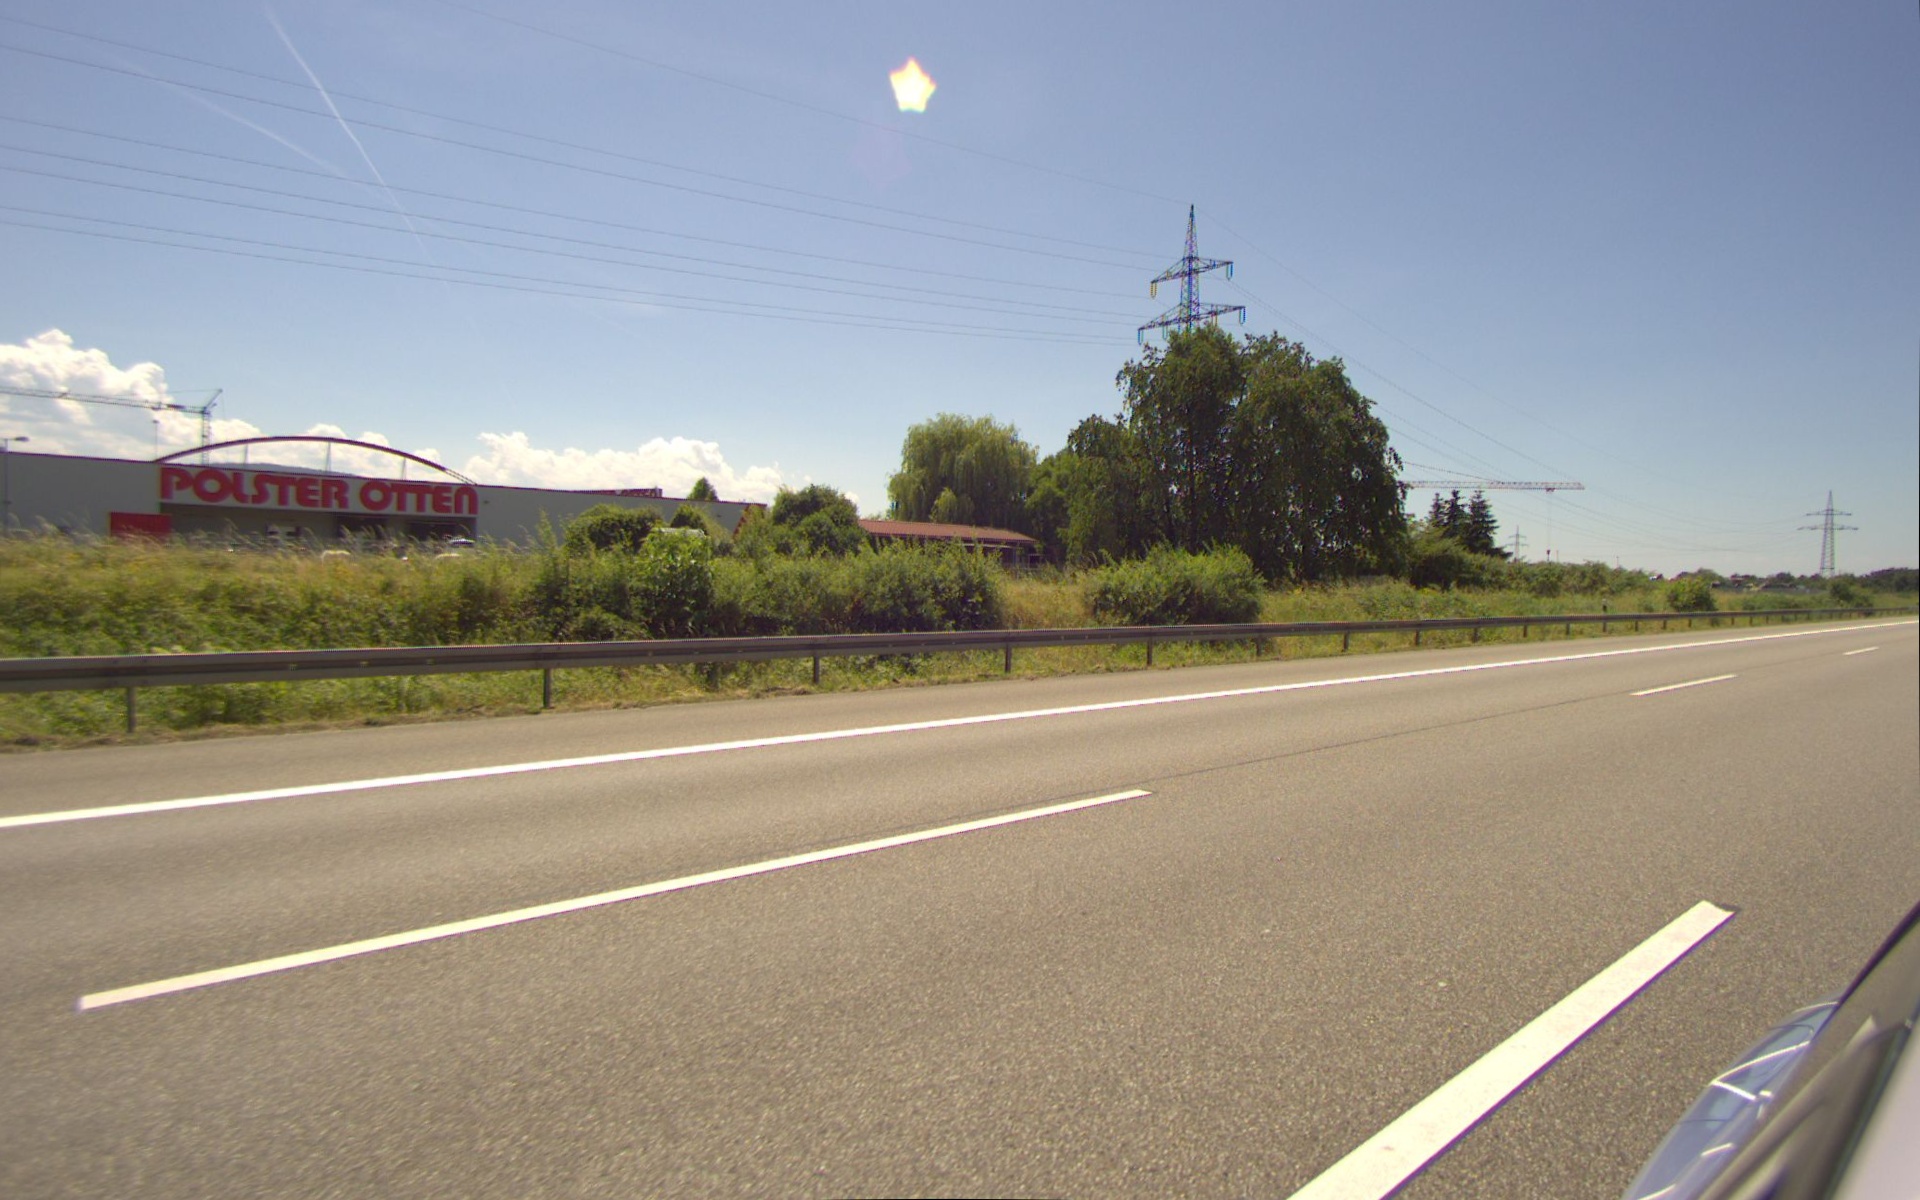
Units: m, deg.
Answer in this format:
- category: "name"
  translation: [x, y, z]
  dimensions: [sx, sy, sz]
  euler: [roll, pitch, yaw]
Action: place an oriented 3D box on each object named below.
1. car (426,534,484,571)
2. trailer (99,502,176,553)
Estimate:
- category: "car"
  translation: [-29.736, -2.759, 59.575]
  dimensions: [1.967, 2.039, 3.990]
  euler: [0, 0, -44]
- category: "trailer"
  translation: [-43.188, -3.779, 53.197]
  dimensions: [2.926, 2.410, 7.927]
  euler: [0, 3, -39]
